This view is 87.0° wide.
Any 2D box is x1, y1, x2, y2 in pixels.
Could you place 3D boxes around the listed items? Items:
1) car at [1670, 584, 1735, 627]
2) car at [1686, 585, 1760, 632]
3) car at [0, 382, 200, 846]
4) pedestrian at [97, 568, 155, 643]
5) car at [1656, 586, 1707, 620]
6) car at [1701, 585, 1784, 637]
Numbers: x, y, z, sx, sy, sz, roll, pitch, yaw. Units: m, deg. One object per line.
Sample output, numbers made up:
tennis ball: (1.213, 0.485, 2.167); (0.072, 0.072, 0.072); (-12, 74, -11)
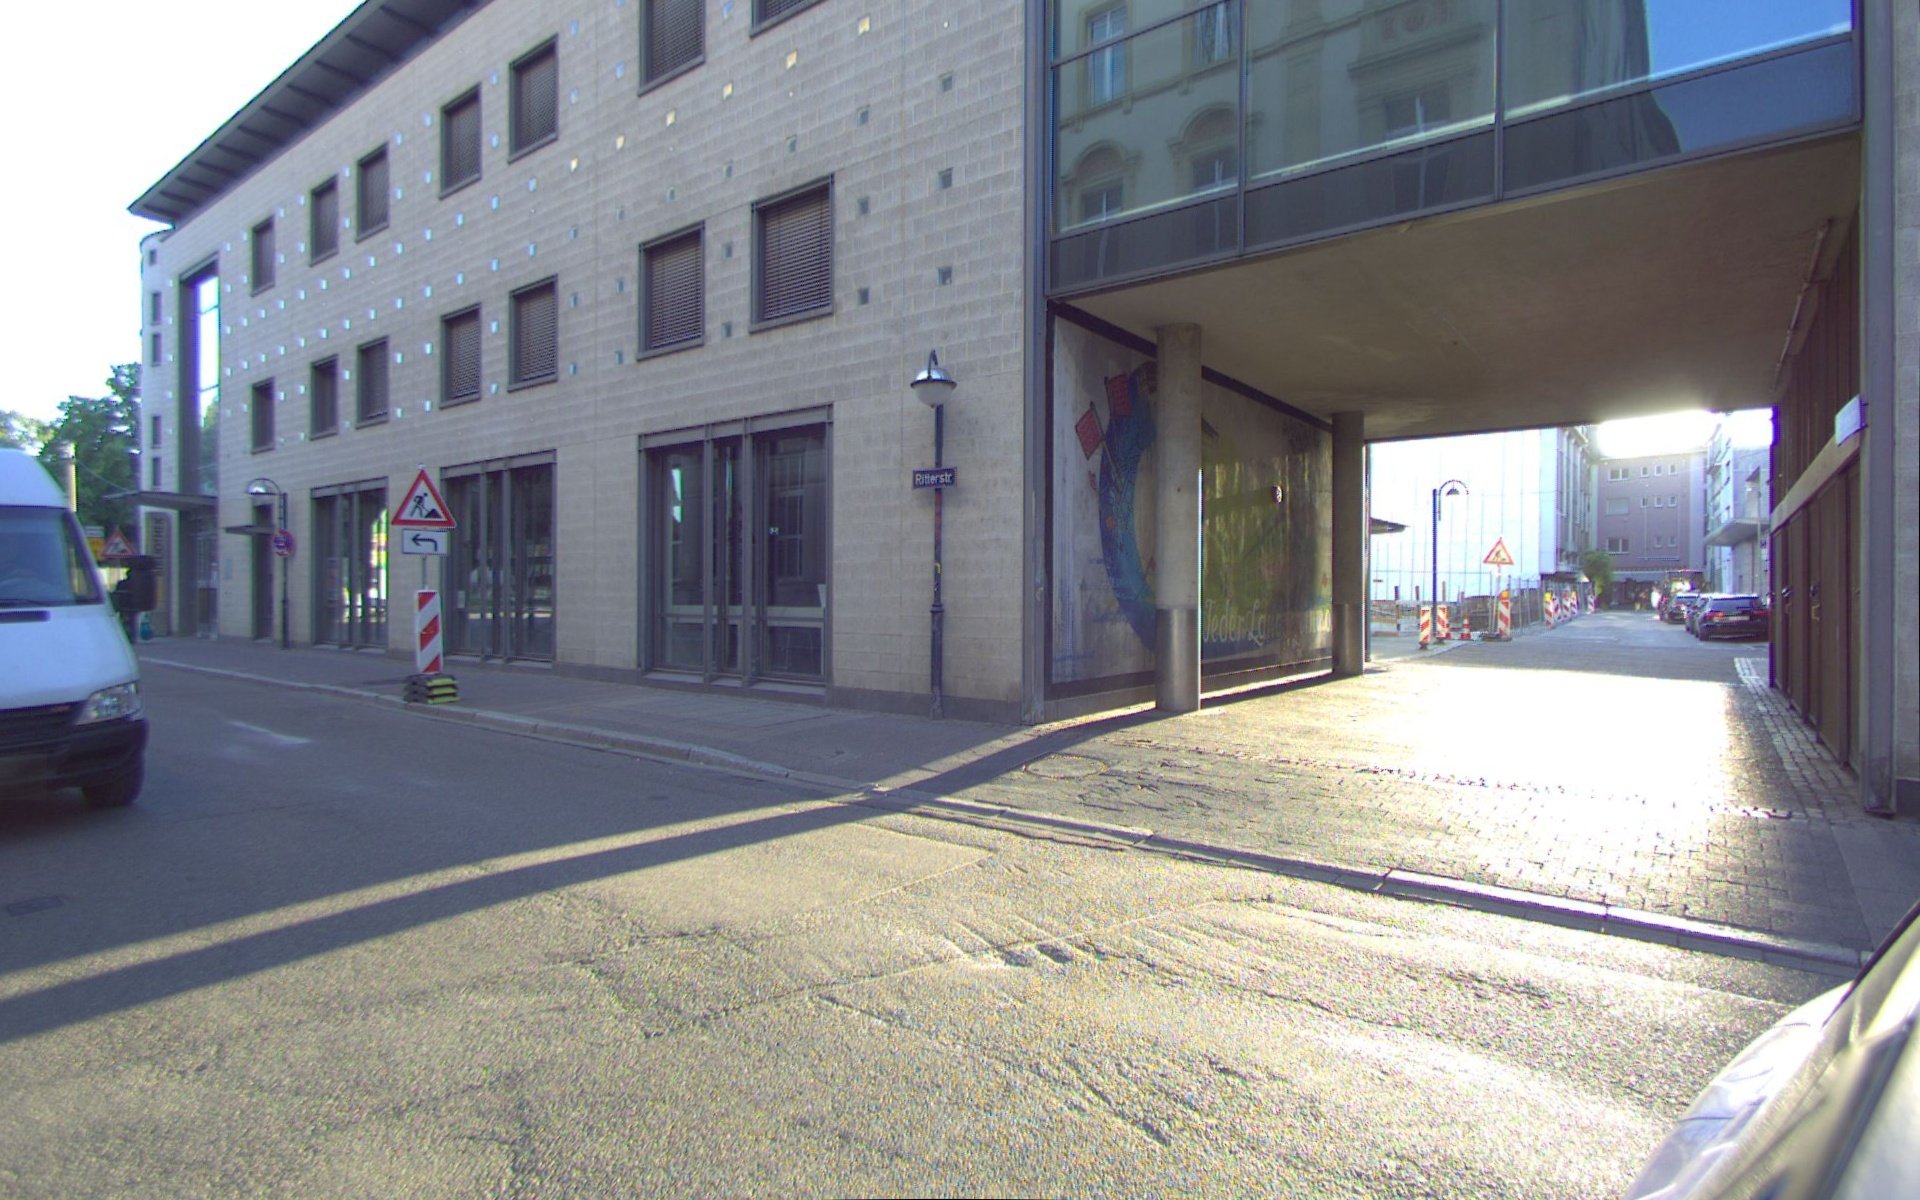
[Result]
car: (28.078, 0.172, 38.338); (1.588, 1.512, 3.409); (0, 1, 30)
car: (26.180, 0.238, 34.800); (1.588, 1.512, 3.409); (0, 1, 30)
car: (-7.936, 0.039, 7.345); (6.429, 2.542, 1.978); (1, 4, 36)
pedestrian: (-19.848, 0.114, 24.083); (0.864, 1.723, 0.913); (1, 1, 39)
car: (33.846, 0.093, 47.552); (1.588, 1.512, 3.409); (0, 1, 30)
car: (24.243, 0.293, 31.459); (1.588, 1.512, 3.409); (0, 1, 30)
